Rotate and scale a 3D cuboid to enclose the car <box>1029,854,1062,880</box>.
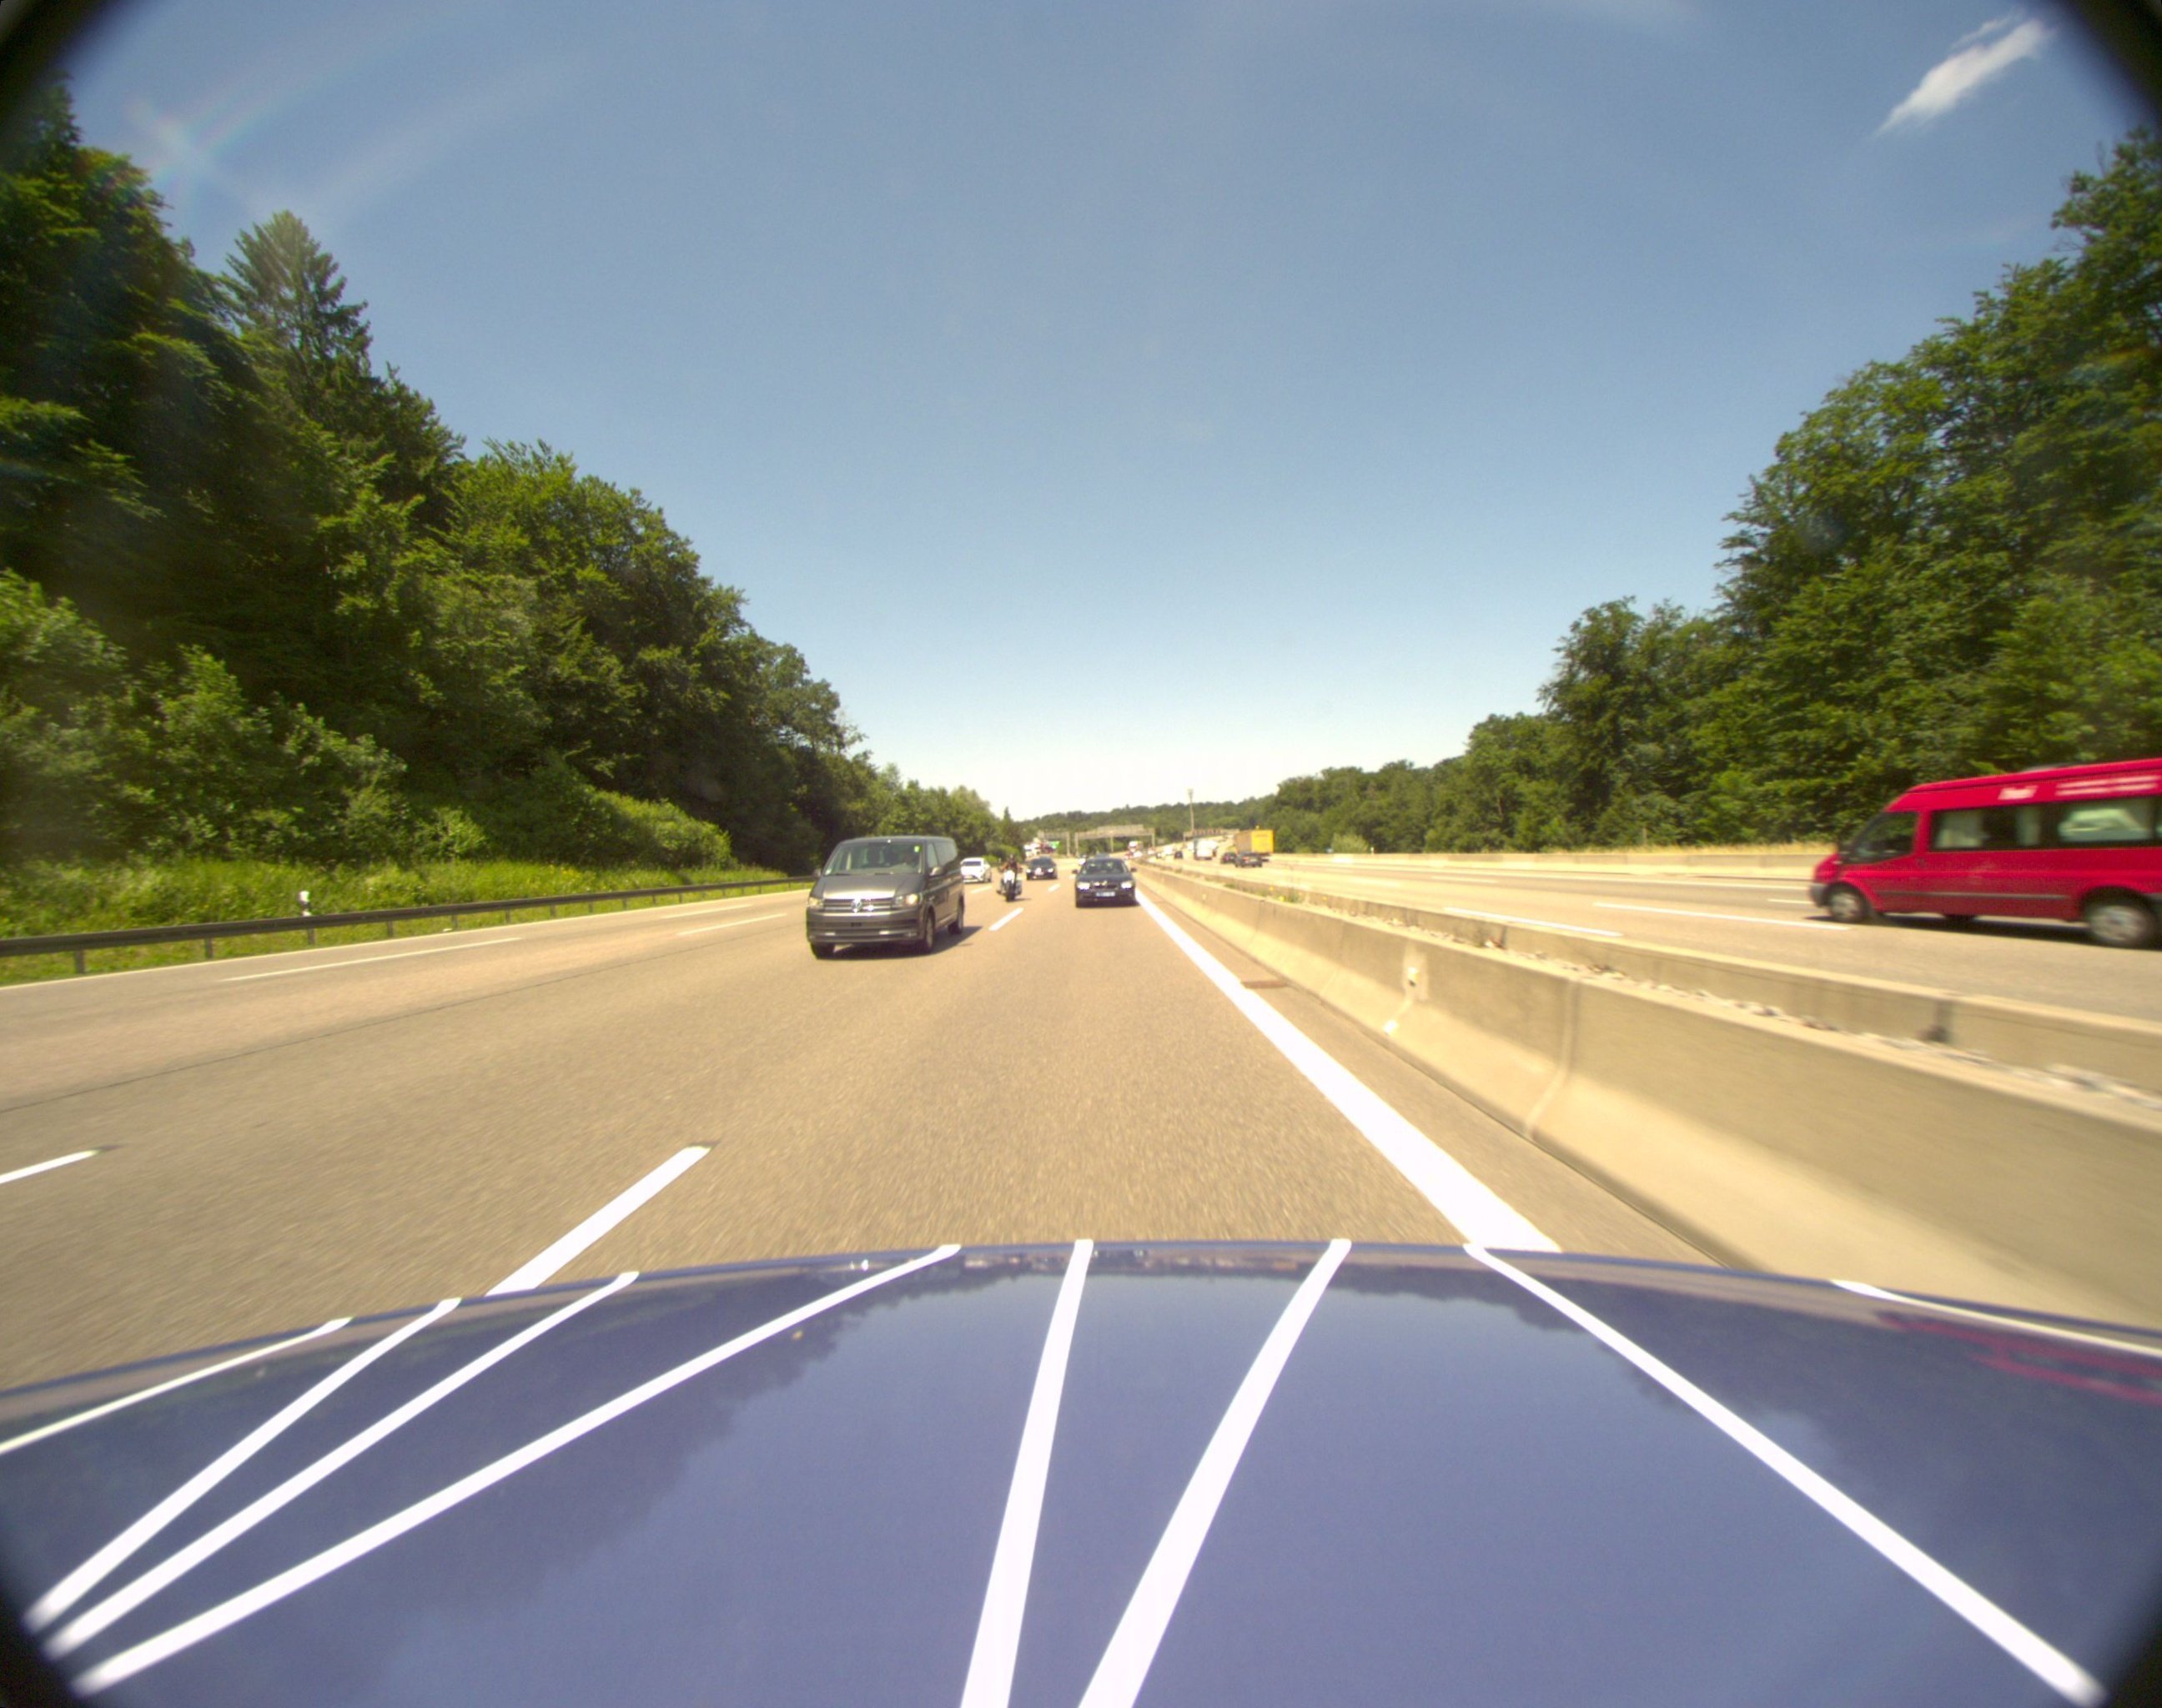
[{"bbox_3d":[-2.295,0.802,49.880,1.760,1.431,3.999,-2,2,3],"label":"car"}]

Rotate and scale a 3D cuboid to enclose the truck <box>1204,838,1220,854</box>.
[{"bbox_3d":[30.856,-1.859,179.559,2.615,3.446,9.883,-3,1,5],"label":"truck"}]

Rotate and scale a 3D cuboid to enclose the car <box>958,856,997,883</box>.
[{"bbox_3d":[-6.264,0.897,46.279,1.754,1.510,4.483,-2,0,-1],"label":"car"}]

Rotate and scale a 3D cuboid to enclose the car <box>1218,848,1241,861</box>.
[{"bbox_3d":[17.297,0.057,88.758,1.998,1.474,4.581,-1,0,4],"label":"car"}]

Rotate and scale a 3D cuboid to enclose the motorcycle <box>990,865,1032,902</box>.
[{"bbox_3d":[-2.426,1.012,26.628,0.536,1.129,2.439,-1,1,17],"label":"motorcycle"}]

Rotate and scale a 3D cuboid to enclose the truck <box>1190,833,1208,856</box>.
[{"bbox_3d":[21.021,-1.676,135.807,2.537,3.917,6.802,-2,0,3],"label":"truck"}]

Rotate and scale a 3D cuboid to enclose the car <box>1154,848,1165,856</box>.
[{"bbox_3d":[16.649,-0.354,161.596,1.998,1.695,4.955,-2,0,4],"label":"car"}]

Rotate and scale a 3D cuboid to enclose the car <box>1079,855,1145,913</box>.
[{"bbox_3d":[0.953,0.836,23.025,1.769,1.496,4.000,-3,0,3],"label":"car"}]

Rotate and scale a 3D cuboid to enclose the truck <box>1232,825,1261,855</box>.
[{"bbox_3d":[23.168,-1.934,106.537,2.757,3.994,6.752,-2,0,3],"label":"truck"}]

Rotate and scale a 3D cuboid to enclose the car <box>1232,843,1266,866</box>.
[{"bbox_3d":[14.973,0.017,67.923,1.998,1.861,5.251,-3,1,3],"label":"car"}]

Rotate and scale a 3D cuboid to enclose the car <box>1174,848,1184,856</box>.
[{"bbox_3d":[19.703,-0.369,153.337,1.724,1.634,4.061,-2,0,4],"label":"car"}]

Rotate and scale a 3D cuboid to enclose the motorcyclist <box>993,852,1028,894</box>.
[{"bbox_3d":[-2.431,0.656,26.381,0.854,1.419,1.024,-1,2,17],"label":"motorcyclist"}]

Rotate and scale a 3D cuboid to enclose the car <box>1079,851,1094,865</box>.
[{"bbox_3d":[0.765,0.562,107.867,1.729,1.522,3.740,9,4,2],"label":"car"}]

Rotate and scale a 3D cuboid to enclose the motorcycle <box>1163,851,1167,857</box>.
[{"bbox_3d":[15.206,-0.025,137.551,0.729,1.008,2.528,-2,0,4],"label":"motorcycle"}]

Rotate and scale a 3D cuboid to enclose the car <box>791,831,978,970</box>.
[{"bbox_3d":[-3.299,0.686,13.937,1.968,2.022,5.083,-2,0,1],"label":"car"}]

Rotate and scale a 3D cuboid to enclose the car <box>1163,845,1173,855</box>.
[{"bbox_3d":[24.699,-1.128,215.621,2.102,2.673,6.310,-3,0,3],"label":"car"}]

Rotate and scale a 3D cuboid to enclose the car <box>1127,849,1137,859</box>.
[{"bbox_3d":[11.310,0.029,167.138,1.998,2.002,4.000,-3,0,2],"label":"car"}]

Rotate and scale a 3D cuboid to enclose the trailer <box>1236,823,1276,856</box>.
[{"bbox_3d":[22.814,-1.841,100.017,2.729,3.981,13.727,-2,0,3],"label":"trailer"}]

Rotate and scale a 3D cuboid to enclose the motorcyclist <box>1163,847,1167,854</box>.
[{"bbox_3d":[15.185,-0.609,137.514,0.729,1.353,0.905,-2,1,4],"label":"motorcyclist"}]

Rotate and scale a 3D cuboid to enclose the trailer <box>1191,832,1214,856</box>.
[{"bbox_3d":[20.764,-1.610,130.569,2.544,3.858,11.696,-2,0,3],"label":"trailer"}]

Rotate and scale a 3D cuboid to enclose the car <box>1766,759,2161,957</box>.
[{"bbox_3d":[13.422,0.004,10.850,1.998,2.273,5.802,-3,0,1],"label":"car"}]
